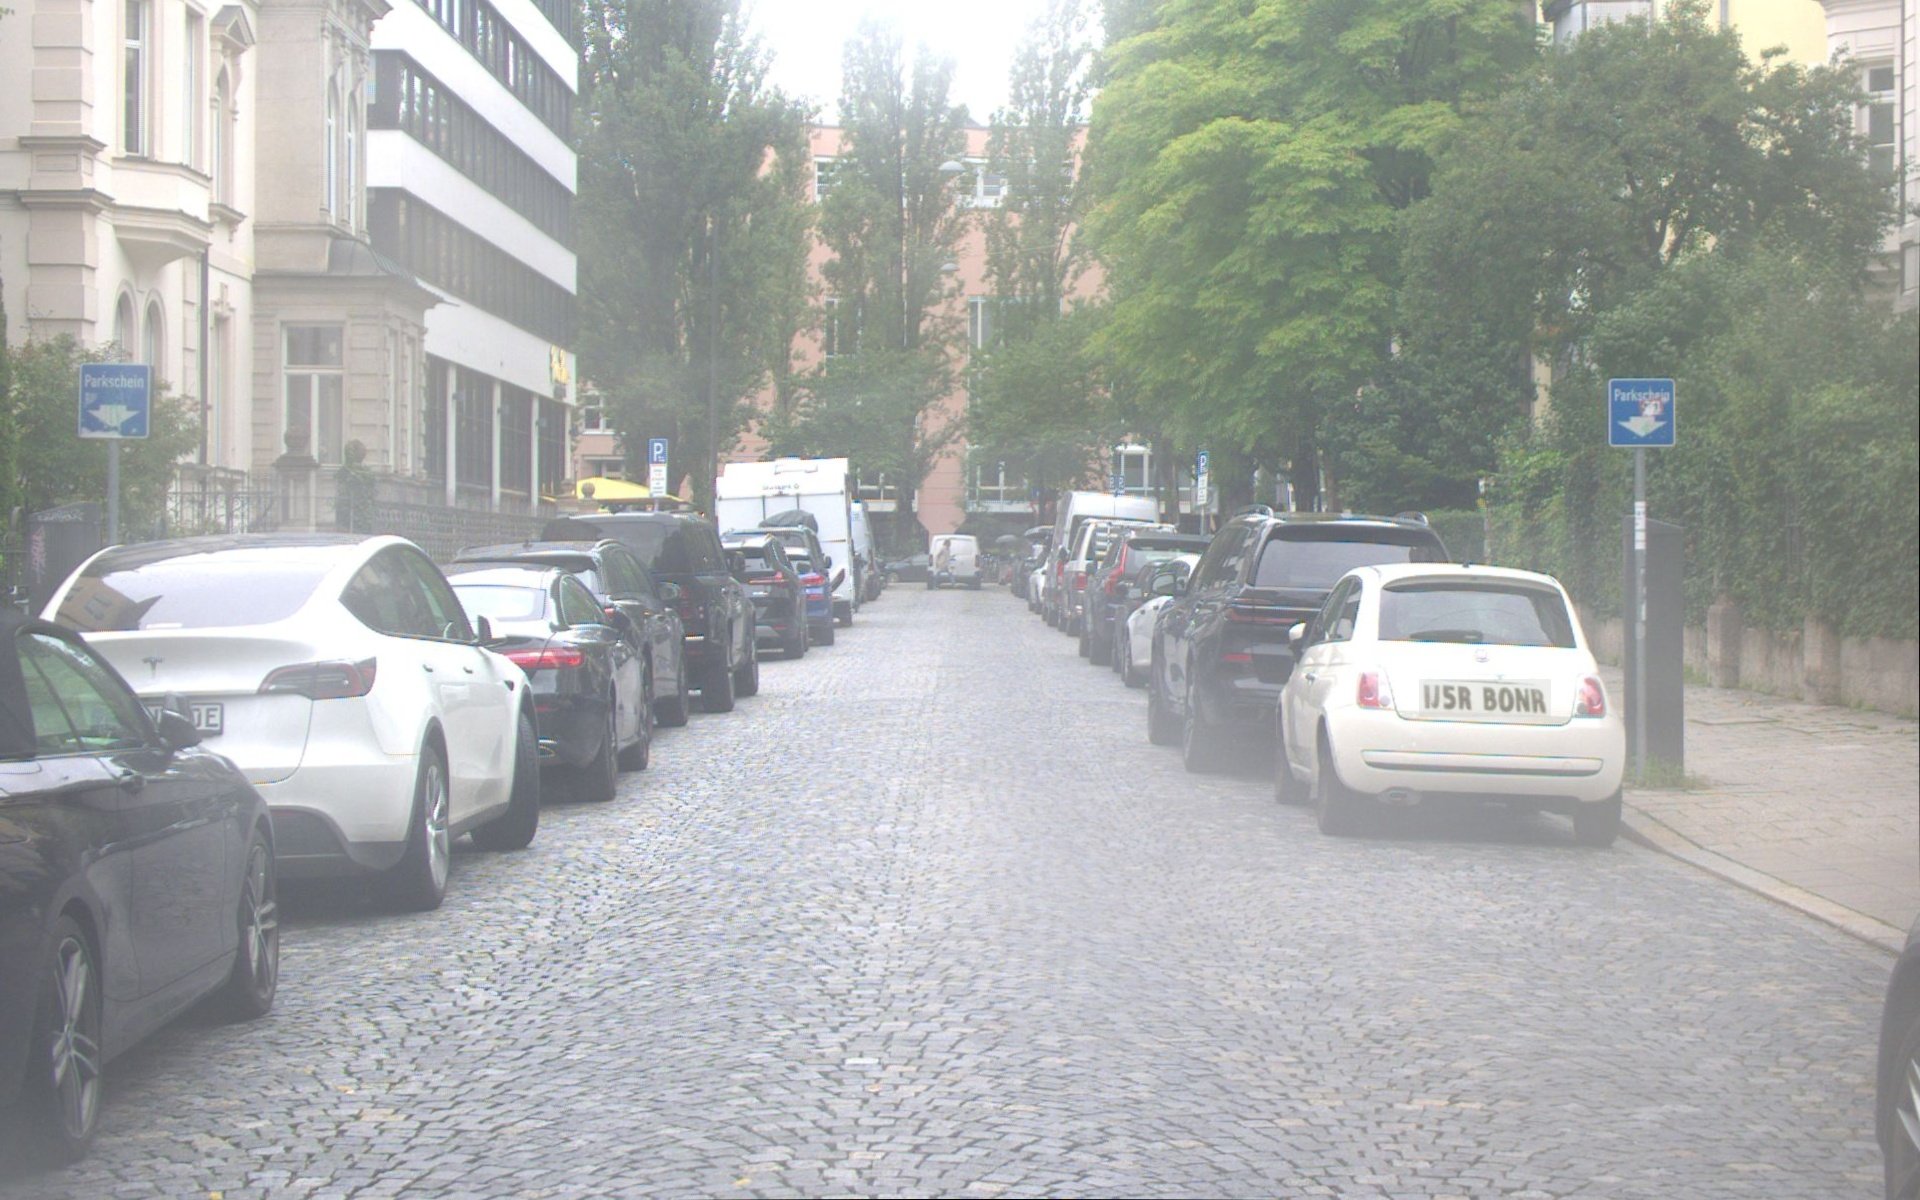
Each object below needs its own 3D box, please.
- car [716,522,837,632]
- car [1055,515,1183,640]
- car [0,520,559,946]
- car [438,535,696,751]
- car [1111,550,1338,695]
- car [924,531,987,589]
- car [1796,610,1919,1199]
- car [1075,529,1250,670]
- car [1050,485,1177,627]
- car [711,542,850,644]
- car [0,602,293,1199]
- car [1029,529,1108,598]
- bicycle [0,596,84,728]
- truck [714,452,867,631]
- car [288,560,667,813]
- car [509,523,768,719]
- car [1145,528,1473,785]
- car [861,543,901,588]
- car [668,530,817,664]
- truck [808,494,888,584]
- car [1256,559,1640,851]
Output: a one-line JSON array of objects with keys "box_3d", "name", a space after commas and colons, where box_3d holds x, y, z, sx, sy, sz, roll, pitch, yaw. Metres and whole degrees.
[{"box_3d": [-3.002, -0.398, 56.821, 1.894, 1.745, 4.168, 0, 1, -2], "name": "car"}, {"box_3d": [2.659, -0.395, 58.381, 1.800, 1.943, 4.860, 3, 1, -1], "name": "car"}, {"box_3d": [-2.993, 0.490, 15.559, 1.773, 1.642, 4.391, 0, 1, 1], "name": "car"}, {"box_3d": [-3.138, 0.311, 28.114, 1.579, 1.584, 4.056, -2, 0, 0], "name": "car"}, {"box_3d": [2.708, 0.194, 36.155, 1.773, 1.424, 4.392, 0, 1, -4], "name": "car"}, {"box_3d": [-0.139, -1.339, 115.395, 1.996, 1.929, 4.000, 0, 1, 1], "name": "car"}, {"box_3d": [2.747, 0.805, 5.279, 1.648, 1.417, 4.633, 3, 1, -1], "name": "car"}, {"box_3d": [2.619, -0.033, 45.541, 1.963, 1.753, 4.954, 0, 1, -1], "name": "car"}, {"box_3d": [2.821, -0.866, 64.178, 1.895, 2.418, 5.611, 4, 2, -1], "name": "car"}, {"box_3d": [-2.654, -0.122, 51.634, 1.940, 1.454, 4.058, 0, 1, -1], "name": "car"}, {"box_3d": [-3.085, 0.711, 9.572, 1.773, 1.355, 4.391, 0, 1, -2], "name": "car"}, {"box_3d": [2.403, -0.817, 76.615, 1.599, 1.481, 3.479, 0, 1, -1], "name": "car"}, {"box_3d": [-7.339, 0.474, 27.254, 0.352, 0.999, 1.573, 0, 1, 1], "name": "bicycle"}, {"box_3d": [-3.036, -1.096, 62.929, 2.508, 3.021, 6.385, -2, 1, -1], "name": "truck"}, {"box_3d": [-2.937, 0.468, 21.768, 1.773, 1.424, 4.391, 0, 1, 0], "name": "car"}, {"box_3d": [-3.015, 0.133, 33.211, 1.982, 1.731, 4.722, 0, 1, 1], "name": "car"}, {"box_3d": [2.427, 0.338, 25.192, 1.875, 1.667, 5.491, 0, 1, 0], "name": "car"}, {"box_3d": [-2.702, -1.182, 117.559, 1.276, 1.536, 3.119, 0, 1, 0], "name": "car"}, {"box_3d": [-2.882, -0.063, 46.292, 1.773, 1.712, 4.391, 0, 1, -1], "name": "car"}, {"box_3d": [-2.957, -1.623, 91.805, 1.993, 2.338, 4.068, 0, 1, 0], "name": "truck"}, {"box_3d": [2.712, 0.528, 19.842, 1.630, 1.464, 3.659, 2, 1, 0], "name": "car"}]
